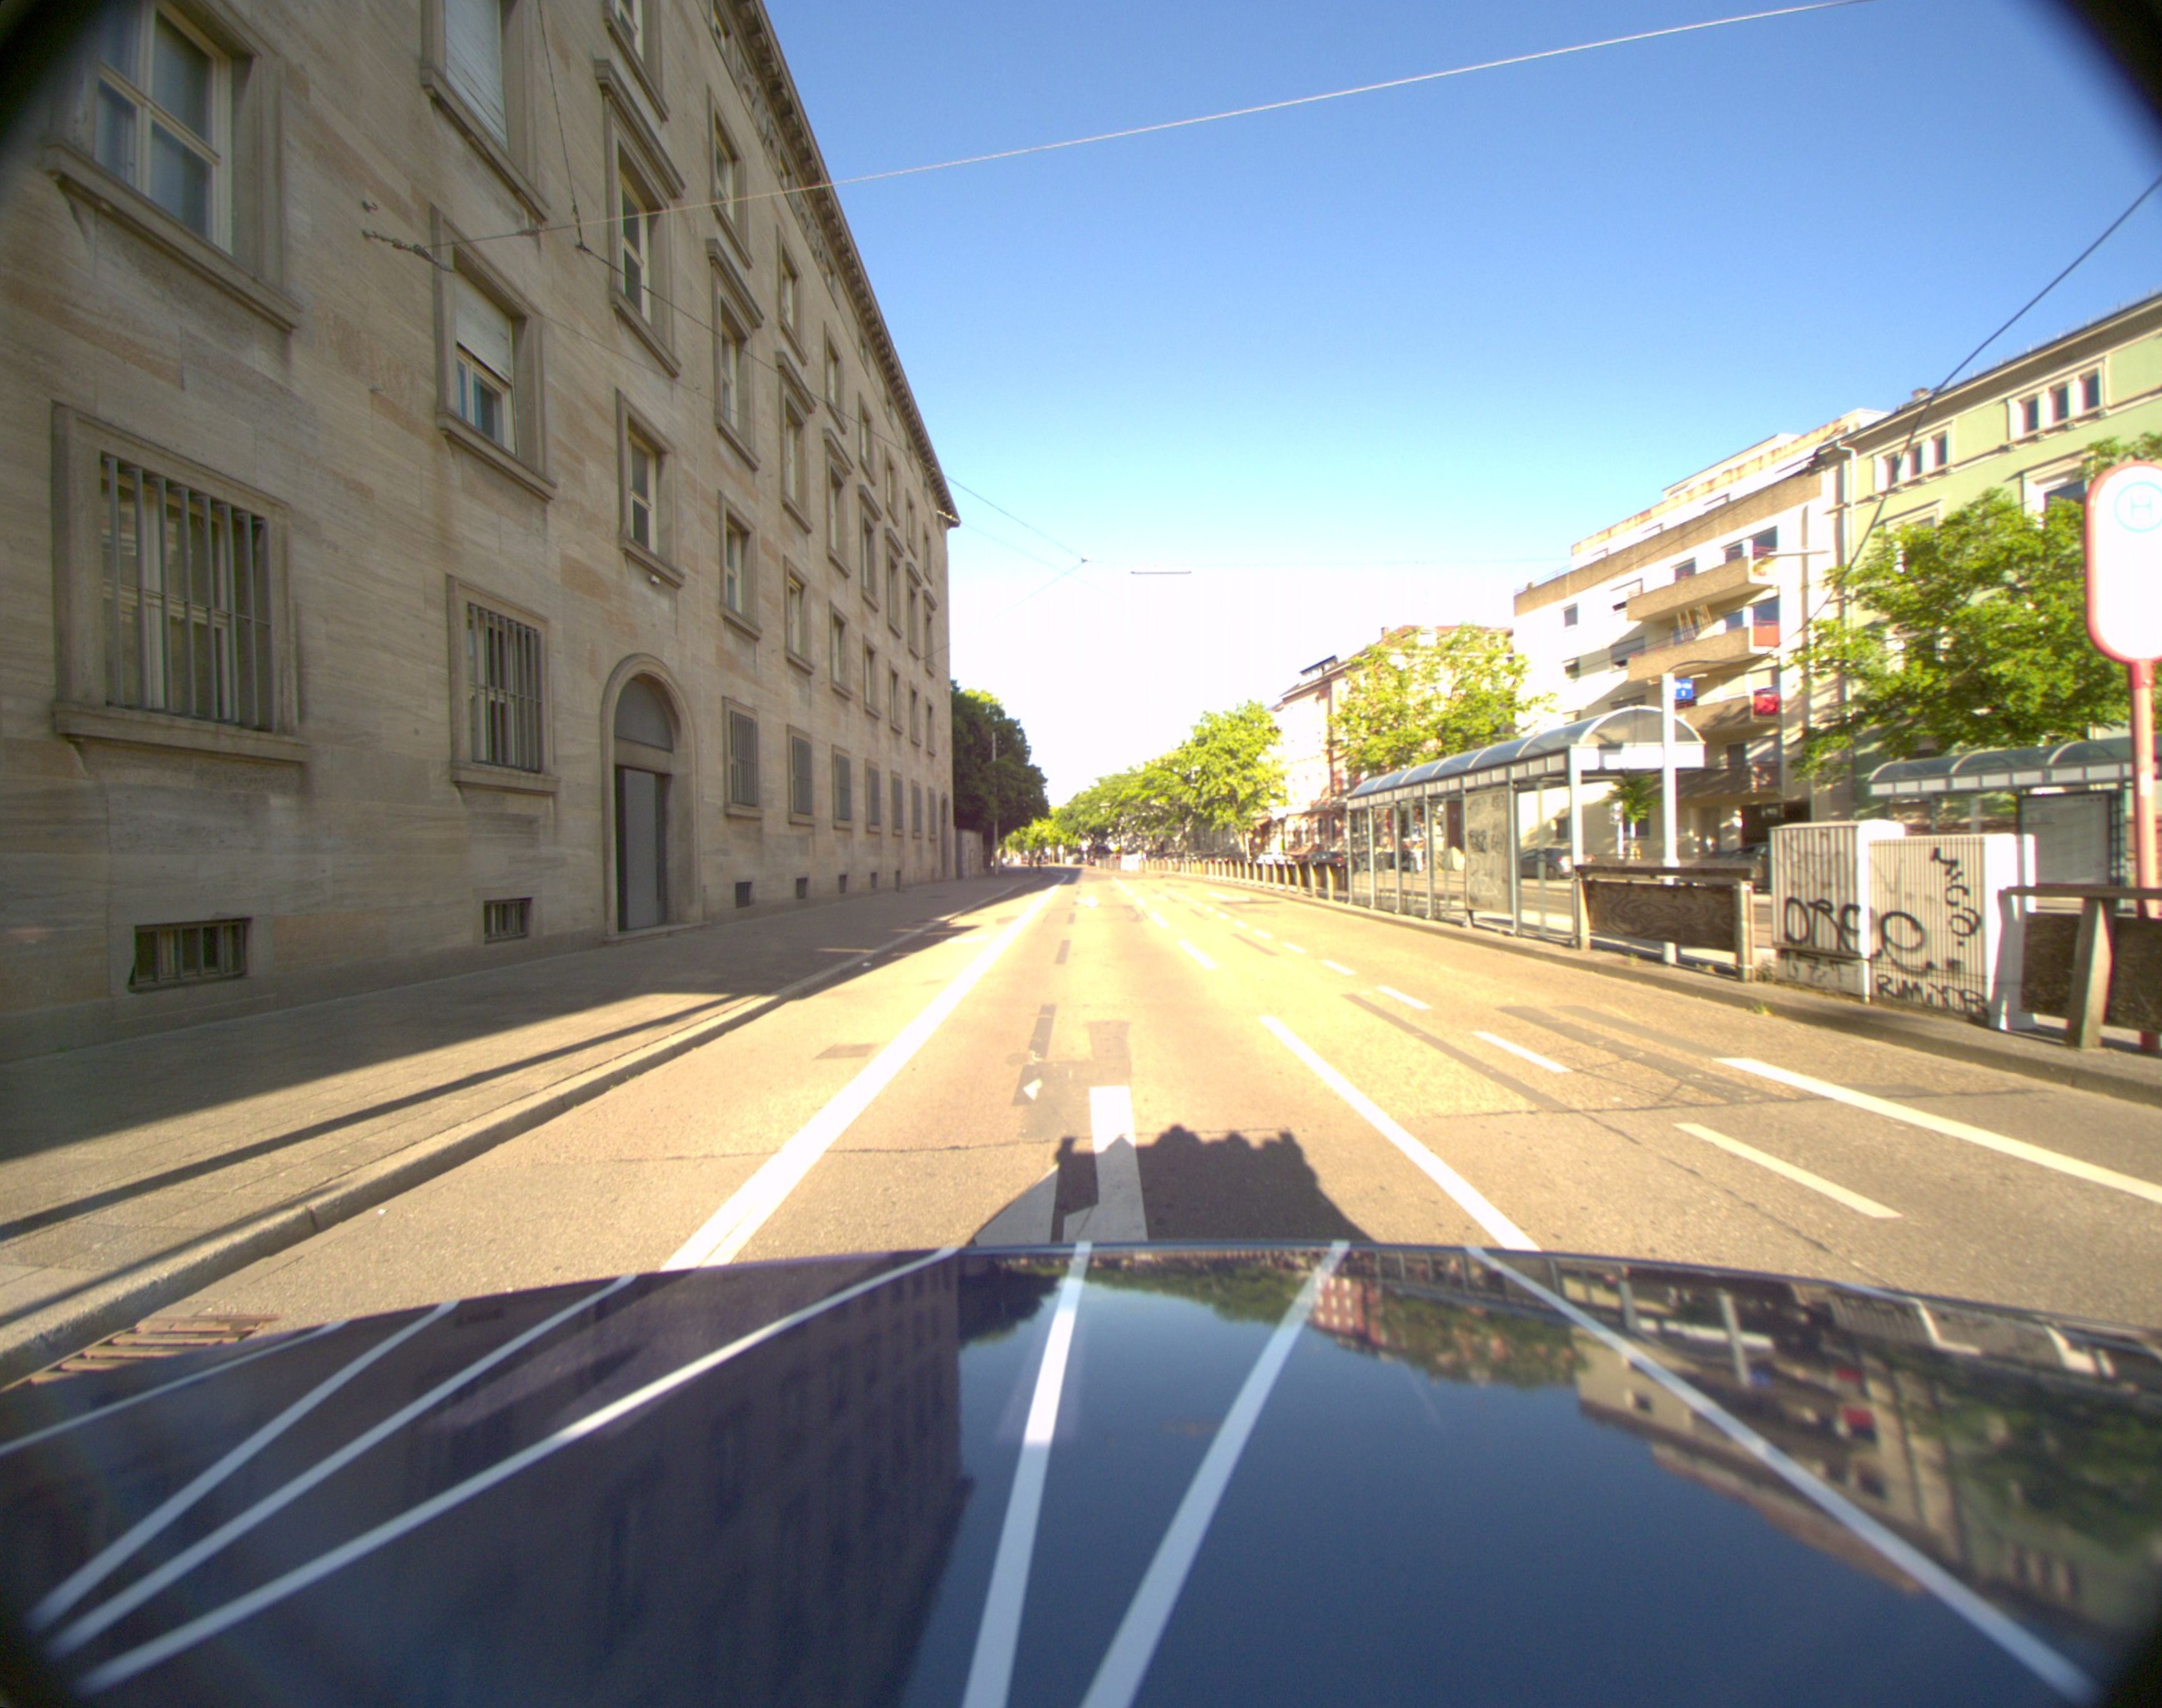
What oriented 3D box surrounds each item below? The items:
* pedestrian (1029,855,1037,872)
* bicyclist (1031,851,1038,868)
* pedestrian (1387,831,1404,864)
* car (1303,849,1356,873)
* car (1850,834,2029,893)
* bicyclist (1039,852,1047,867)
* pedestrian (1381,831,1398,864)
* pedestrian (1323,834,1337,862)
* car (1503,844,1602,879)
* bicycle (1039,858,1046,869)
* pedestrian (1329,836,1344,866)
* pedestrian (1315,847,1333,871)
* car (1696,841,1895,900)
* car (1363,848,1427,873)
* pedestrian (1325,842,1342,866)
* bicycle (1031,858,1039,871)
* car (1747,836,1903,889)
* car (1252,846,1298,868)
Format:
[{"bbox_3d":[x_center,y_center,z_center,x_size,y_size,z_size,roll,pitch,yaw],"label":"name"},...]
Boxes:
[{"bbox_3d":[-3.726,0.754,58.927,0.548,1.327,0.587,-1,1,7],"label":"pedestrian"},{"bbox_3d":[-4.853,0.602,79.282,0.625,1.729,0.688,-3,1,1],"label":"bicyclist"},{"bbox_3d":[21.327,-0.438,51.535,0.813,2.194,0.756,-1,1,-10],"label":"pedestrian"},{"bbox_3d":[14.998,0.406,46.132,1.670,1.400,3.877,0,0,-5],"label":"car"},{"bbox_3d":[24.580,0.243,21.788,4.002,1.573,1.761,-1,0,-14],"label":"car"},{"bbox_3d":[-3.958,0.558,78.852,0.728,1.570,0.775,0,1,1],"label":"bicyclist"},{"bbox_3d":[21.255,-0.445,52.407,0.813,2.194,0.756,-1,1,-10],"label":"pedestrian"},{"bbox_3d":[19.468,-0.454,59.380,0.812,2.194,0.756,-1,1,-4],"label":"pedestrian"},{"bbox_3d":[20.982,0.315,33.991,1.654,1.419,3.737,-1,0,-11],"label":"car"},{"bbox_3d":[-3.958,1.004,78.799,0.625,1.167,1.566,0,0,1],"label":"bicycle"},{"bbox_3d":[19.400,-0.219,57.693,0.813,2.194,0.756,-1,1,-10],"label":"pedestrian"},{"bbox_3d":[16.507,0.319,51.624,0.868,1.619,0.891,-1,1,-10],"label":"pedestrian"},{"bbox_3d":[20.036,0.415,21.570,1.647,1.480,3.998,-1,0,-6],"label":"car"},{"bbox_3d":[18.392,0.357,44.701,1.609,1.388,3.996,-1,0,-9],"label":"car"},{"bbox_3d":[18.423,-0.004,55.441,0.855,1.710,1.019,-1,1,-8],"label":"pedestrian"},{"bbox_3d":[-4.831,1.077,79.312,0.625,1.214,1.659,-3,1,1],"label":"bicycle"},{"bbox_3d":[23.781,0.246,24.329,4.002,1.573,1.761,-1,0,-14],"label":"car"},{"bbox_3d":[16.240,0.237,63.583,4.134,1.698,1.848,-1,1,-45],"label":"car"}]
